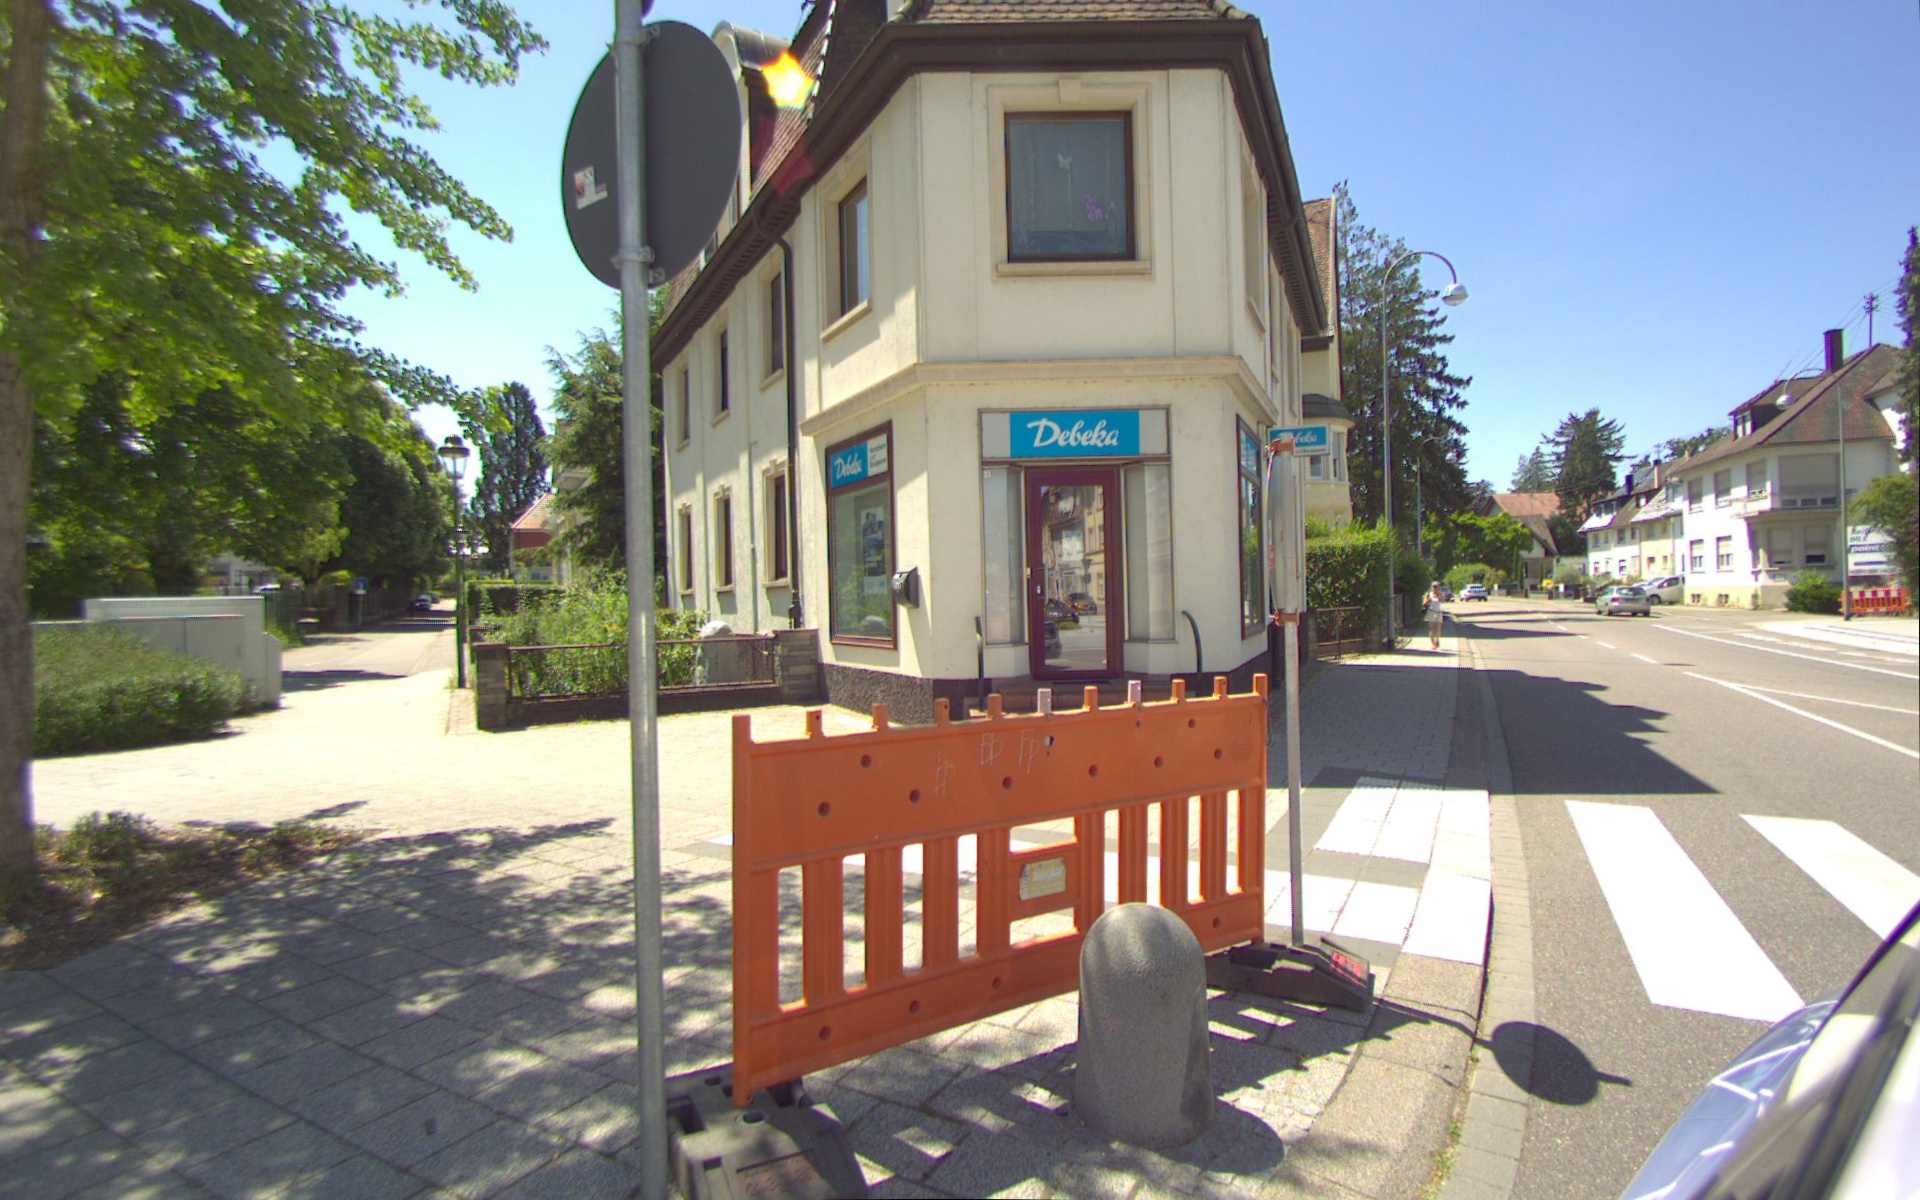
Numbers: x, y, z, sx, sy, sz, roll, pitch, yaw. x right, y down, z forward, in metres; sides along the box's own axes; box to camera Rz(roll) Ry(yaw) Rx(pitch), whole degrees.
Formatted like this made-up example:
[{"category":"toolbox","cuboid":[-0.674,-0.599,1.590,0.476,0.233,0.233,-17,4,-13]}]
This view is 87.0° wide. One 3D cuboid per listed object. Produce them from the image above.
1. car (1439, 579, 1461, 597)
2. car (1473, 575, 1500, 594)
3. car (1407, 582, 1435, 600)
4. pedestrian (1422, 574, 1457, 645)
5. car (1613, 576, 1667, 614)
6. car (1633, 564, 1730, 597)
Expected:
[{"category":"car","cuboid":[44.094,-1.091,91.179,1.672,1.473,3.708,-3,0,25]},{"category":"car","cuboid":[45.983,-1.360,88.460,1.807,1.549,3.919,-2,2,25]},{"category":"car","cuboid":[39.360,-0.769,86.395,1.667,1.473,3.718,-3,0,18]},{"category":"pedestrian","cuboid":[11.704,0.216,24.730,0.618,1.663,0.766,4,3,23]},{"category":"car","cuboid":[32.713,-0.213,48.777,1.830,1.549,4.343,4,0,31]},{"category":"car","cuboid":[43.305,-1.156,60.821,4.301,1.901,1.842,0,0,14]}]
